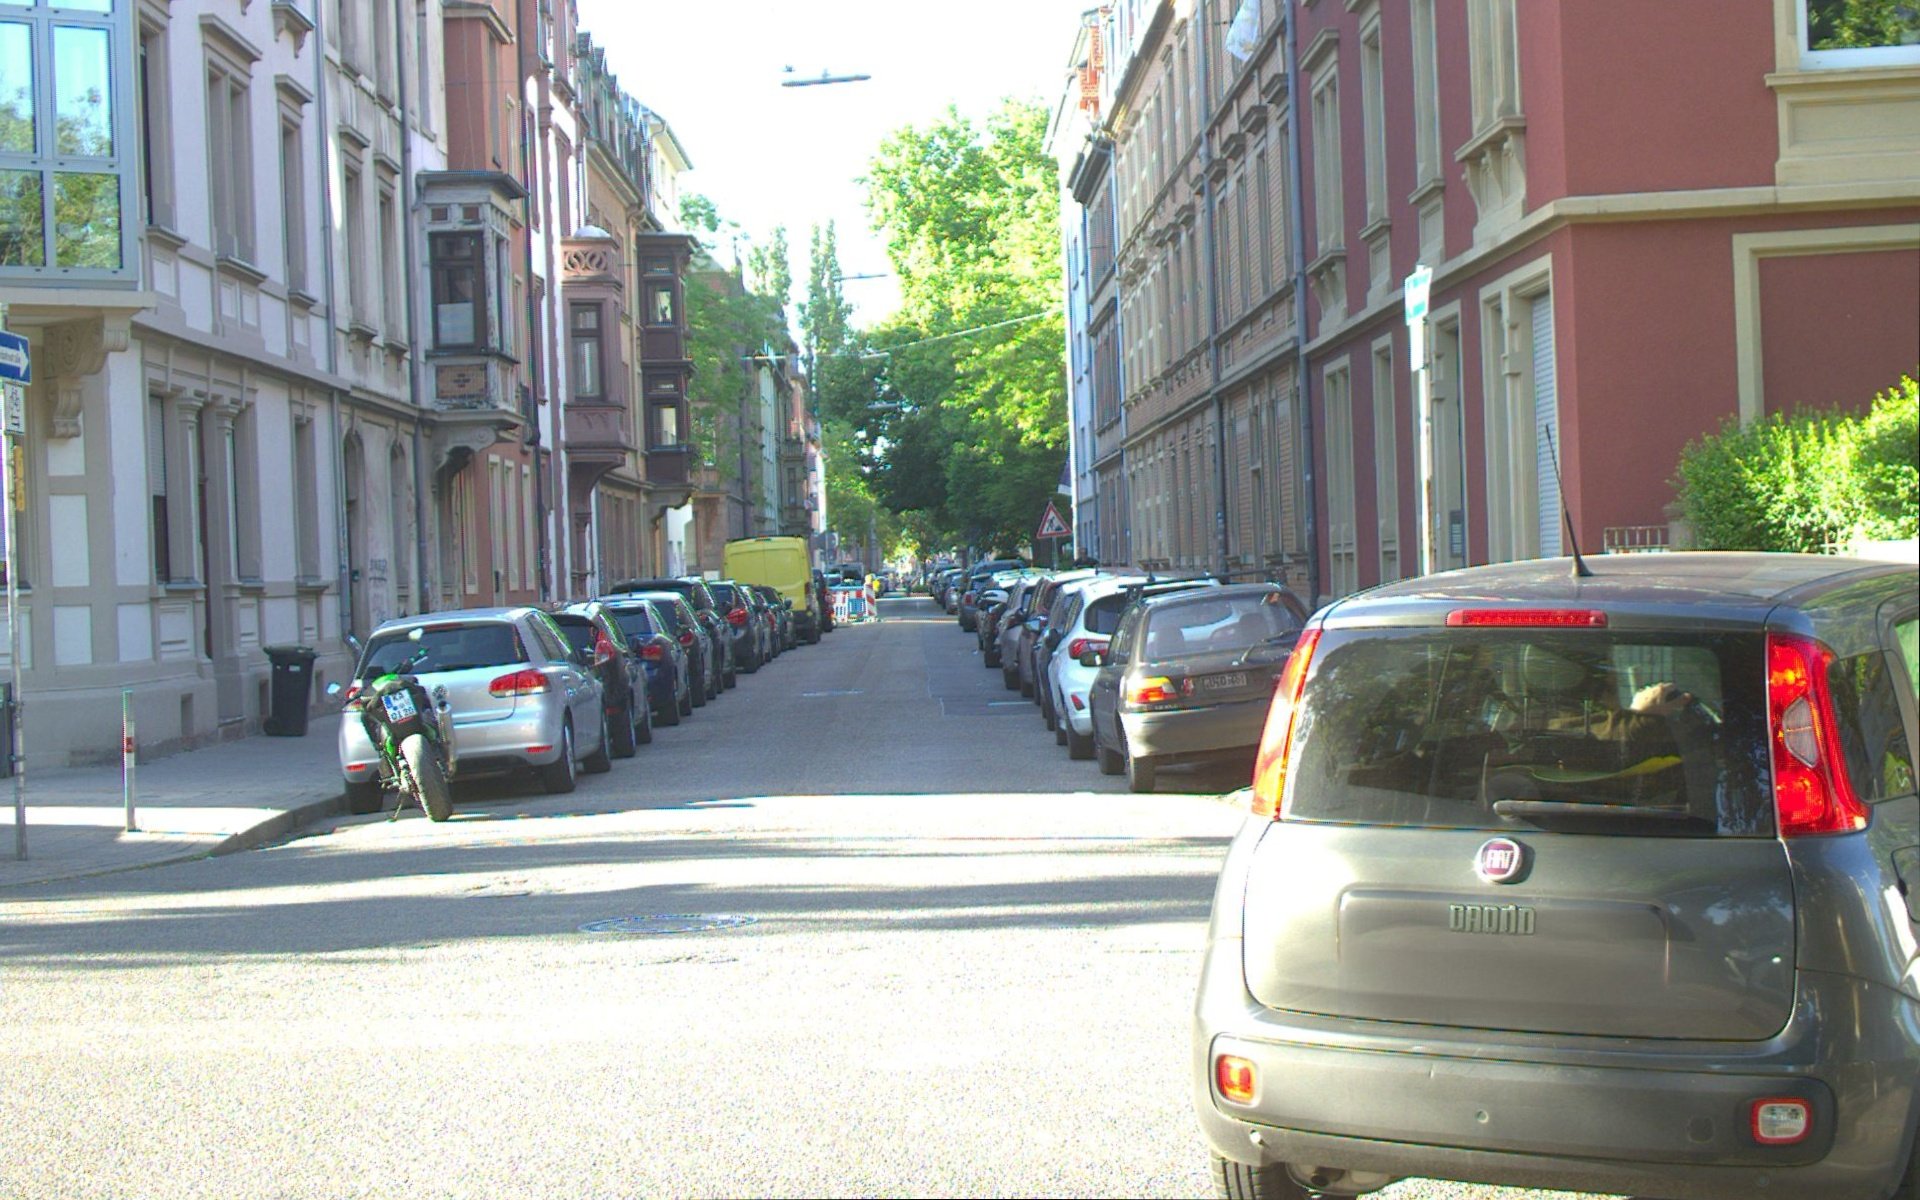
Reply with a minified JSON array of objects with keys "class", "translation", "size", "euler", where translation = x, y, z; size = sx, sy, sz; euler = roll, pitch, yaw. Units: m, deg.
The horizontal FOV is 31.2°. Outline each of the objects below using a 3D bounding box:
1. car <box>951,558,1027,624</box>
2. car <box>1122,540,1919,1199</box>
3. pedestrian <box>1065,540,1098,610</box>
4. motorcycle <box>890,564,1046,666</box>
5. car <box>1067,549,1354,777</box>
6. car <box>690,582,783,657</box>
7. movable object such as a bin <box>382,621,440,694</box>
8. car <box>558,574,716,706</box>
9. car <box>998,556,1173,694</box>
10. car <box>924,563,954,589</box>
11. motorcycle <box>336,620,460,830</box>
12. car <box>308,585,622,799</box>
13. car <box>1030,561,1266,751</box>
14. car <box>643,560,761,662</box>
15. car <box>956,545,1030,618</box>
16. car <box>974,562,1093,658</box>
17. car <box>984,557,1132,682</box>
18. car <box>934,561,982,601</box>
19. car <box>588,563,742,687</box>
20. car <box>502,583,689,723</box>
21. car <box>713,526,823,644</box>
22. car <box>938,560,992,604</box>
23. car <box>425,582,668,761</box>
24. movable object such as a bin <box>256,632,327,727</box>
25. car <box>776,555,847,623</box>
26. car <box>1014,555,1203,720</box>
[{"class":"car","translation":[0.763,-0.250,88.739],"size":[1.754,1.448,4.288],"euler":[-7,1,1]},{"class":"car","translation":[1.958,0.621,8.263],"size":[1.637,1.478,3.527],"euler":[-2,1,30]},{"class":"pedestrian","translation":[2.928,-0.604,82.740],"size":[0.653,1.625,0.880],"euler":[-4,0,3]},{"class":"motorcycle","translation":[0.126,0.222,52.746],"size":[2.219,1.531,0.890],"euler":[-1,1,-26]},{"class":"car","translation":[1.761,0.405,25.218],"size":[1.668,1.478,3.706],"euler":[-2,1,-2]},{"class":"car","translation":[-4.488,0.368,69.318],"size":[1.618,1.322,3.613],"euler":[-5,1,-1]},{"class":"movable object such as a bin","translation":[-7.170,0.744,44.927],"size":[0.612,0.917,0.734],"euler":[-2,0,-1]},{"class":"car","translation":[-4.058,0.471,43.702],"size":[1.643,1.450,3.839],"euler":[-5,1,-2]},{"class":"car","translation":[1.431,0.253,40.567],"size":[1.658,1.474,4.025],"euler":[-3,1,-3]},{"class":"car","translation":[-1.458,-1.663,237.422],"size":[1.993,1.722,4.000],"euler":[-3,1,-1]},{"class":"motorcycle","translation":[-3.923,0.846,24.117],"size":[0.676,1.329,2.001],"euler":[-5,1,-7]},{"class":"car","translation":[-3.870,0.674,27.494],"size":[1.781,1.478,3.932],"euler":[-2,1,2]},{"class":"car","translation":[1.559,0.430,29.738],"size":[1.705,1.457,3.970],"euler":[-2,1,-1]},{"class":"car","translation":[-4.358,0.157,58.591],"size":[1.781,1.600,4.070],"euler":[-2,1,-2]},{"class":"car","translation":[0.877,-0.527,94.175],"size":[1.754,1.780,4.724],"euler":[-5,1,-1]},{"class":"car","translation":[1.164,0.137,55.947],"size":[1.777,1.392,4.317],"euler":[-2,1,0]},{"class":"car","translation":[1.255,0.220,45.622],"size":[1.762,1.479,4.401],"euler":[-3,1,0]},{"class":"car","translation":[-0.105,-0.828,149.560],"size":[1.894,1.620,4.000],"euler":[-2,0,-1]},{"class":"car","translation":[-4.151,0.314,48.886],"size":[1.761,1.612,4.189],"euler":[-2,1,0]},{"class":"car","translation":[-4.037,0.554,38.601],"size":[1.781,1.398,3.743],"euler":[-2,1,-2]},{"class":"car","translation":[-4.461,-0.368,80.712],"size":[2.175,2.499,5.878],"euler":[-5,1,-1]},{"class":"car","translation":[0.173,-0.681,128.276],"size":[1.723,1.517,4.001],"euler":[-3,1,-3]},{"class":"car","translation":[-3.820,0.624,32.296],"size":[1.781,1.478,3.743],"euler":[-2,1,0]},{"class":"movable object such as a bin","translation":[-6.867,0.817,35.338],"size":[0.621,0.952,0.511],"euler":[-1,0,-1]},{"class":"car","translation":[-4.157,-0.318,95.544],"size":[1.818,1.760,4.336],"euler":[-2,1,-3]},{"class":"car","translation":[1.452,0.331,34.992],"size":[1.676,1.498,4.069],"euler":[-2,1,0]}]
